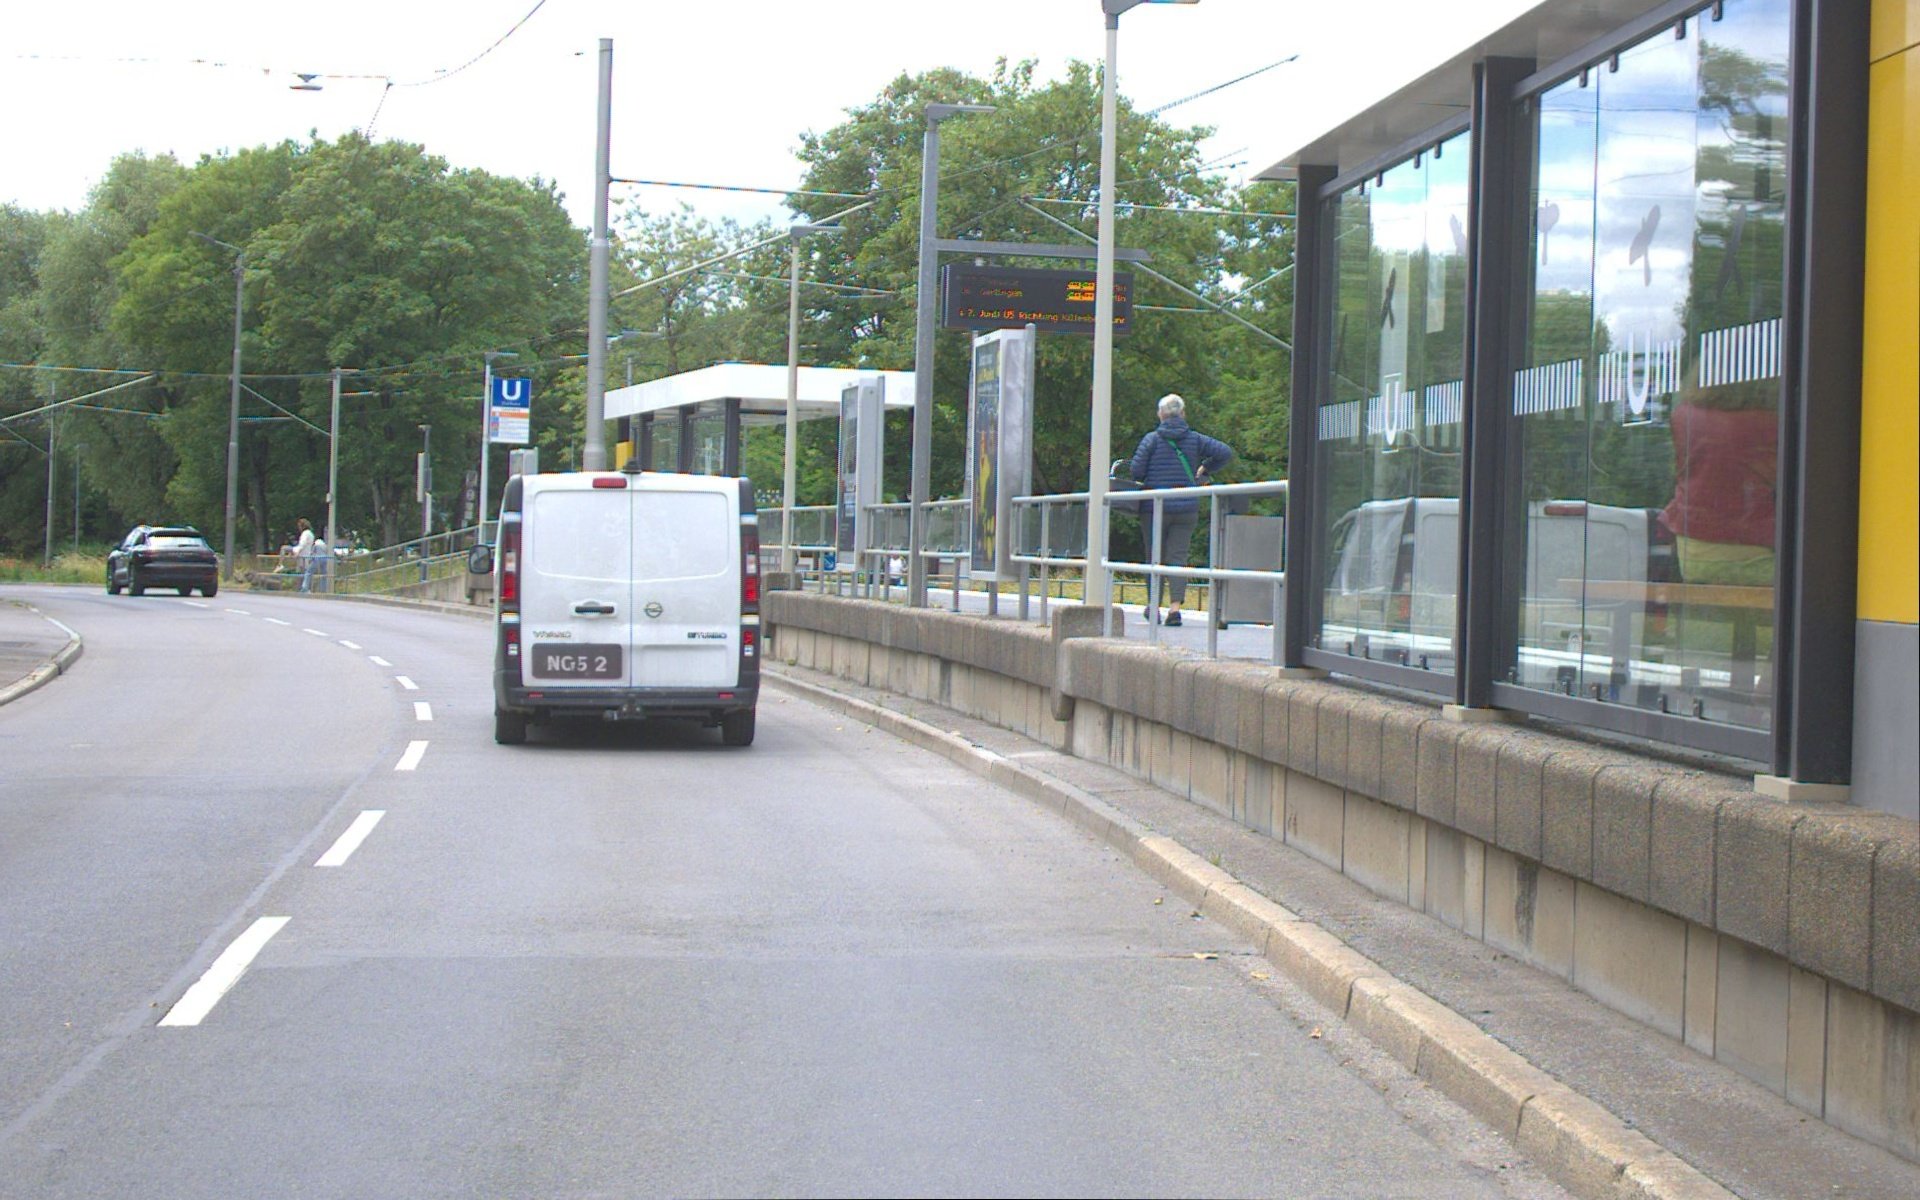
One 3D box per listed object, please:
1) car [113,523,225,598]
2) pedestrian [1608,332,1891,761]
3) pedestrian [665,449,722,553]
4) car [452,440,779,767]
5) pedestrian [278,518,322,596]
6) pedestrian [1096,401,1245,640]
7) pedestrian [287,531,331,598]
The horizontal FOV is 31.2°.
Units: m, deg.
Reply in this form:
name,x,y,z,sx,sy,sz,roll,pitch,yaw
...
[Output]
name,x,y,z,sx,sy,sz,roll,pitch,yaw
car,-18.267,-0.915,79.273,2.354,1.559,4.374,3,0,-14
pedestrian,2.484,-0.167,10.873,0.620,1.294,0.720,2,1,-7
pedestrian,-3.662,-1.366,47.262,0.638,1.399,0.765,1,2,-14
car,-2.697,-0.018,26.052,2.116,2.127,5.442,3,1,-8
pedestrian,-15.323,-0.989,79.849,0.758,1.789,0.630,1,1,-40
pedestrian,1.506,-0.568,24.792,0.885,1.665,0.910,2,1,-6
pedestrian,-14.836,-0.811,78.337,0.758,1.487,0.630,1,1,-40
